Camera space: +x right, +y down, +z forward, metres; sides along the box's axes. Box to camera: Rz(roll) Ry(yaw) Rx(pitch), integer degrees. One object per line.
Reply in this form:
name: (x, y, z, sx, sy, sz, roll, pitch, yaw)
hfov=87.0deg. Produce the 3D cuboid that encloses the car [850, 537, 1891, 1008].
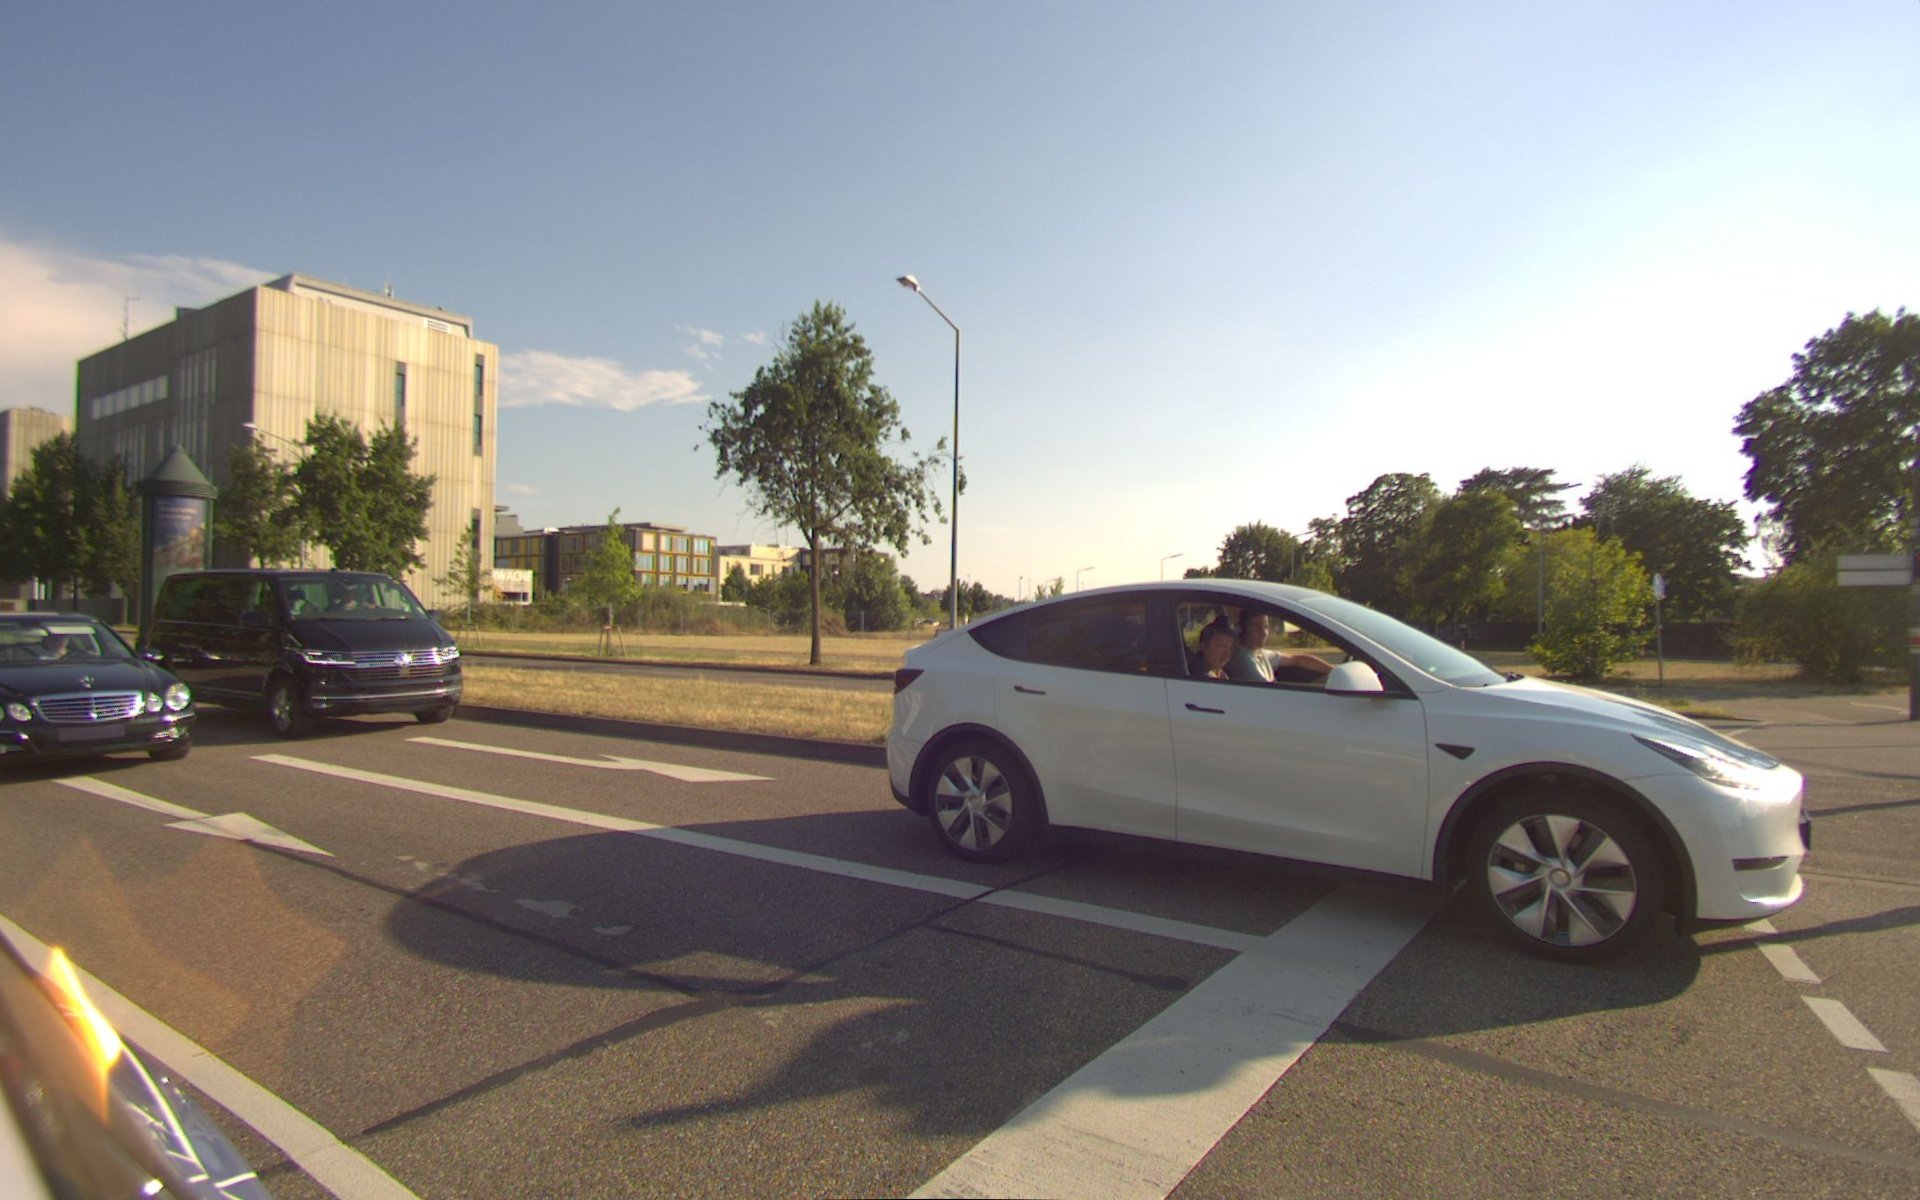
car: (1.735, 0.609, 5.511, 4.665, 1.611, 1.720, -1, 0, 35)

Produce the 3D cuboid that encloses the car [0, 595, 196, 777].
car: (-9.287, 0.724, 9.903, 4.487, 1.447, 1.788, -1, 0, 38)

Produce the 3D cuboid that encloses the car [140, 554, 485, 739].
car: (-8.279, 0.489, 12.777, 5.000, 1.946, 1.841, 0, 0, 34)

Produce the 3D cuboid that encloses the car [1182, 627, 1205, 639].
car: (25.065, 3.550, 108.778, 1.314, 1.302, 2.811, 1, -2, -13)
